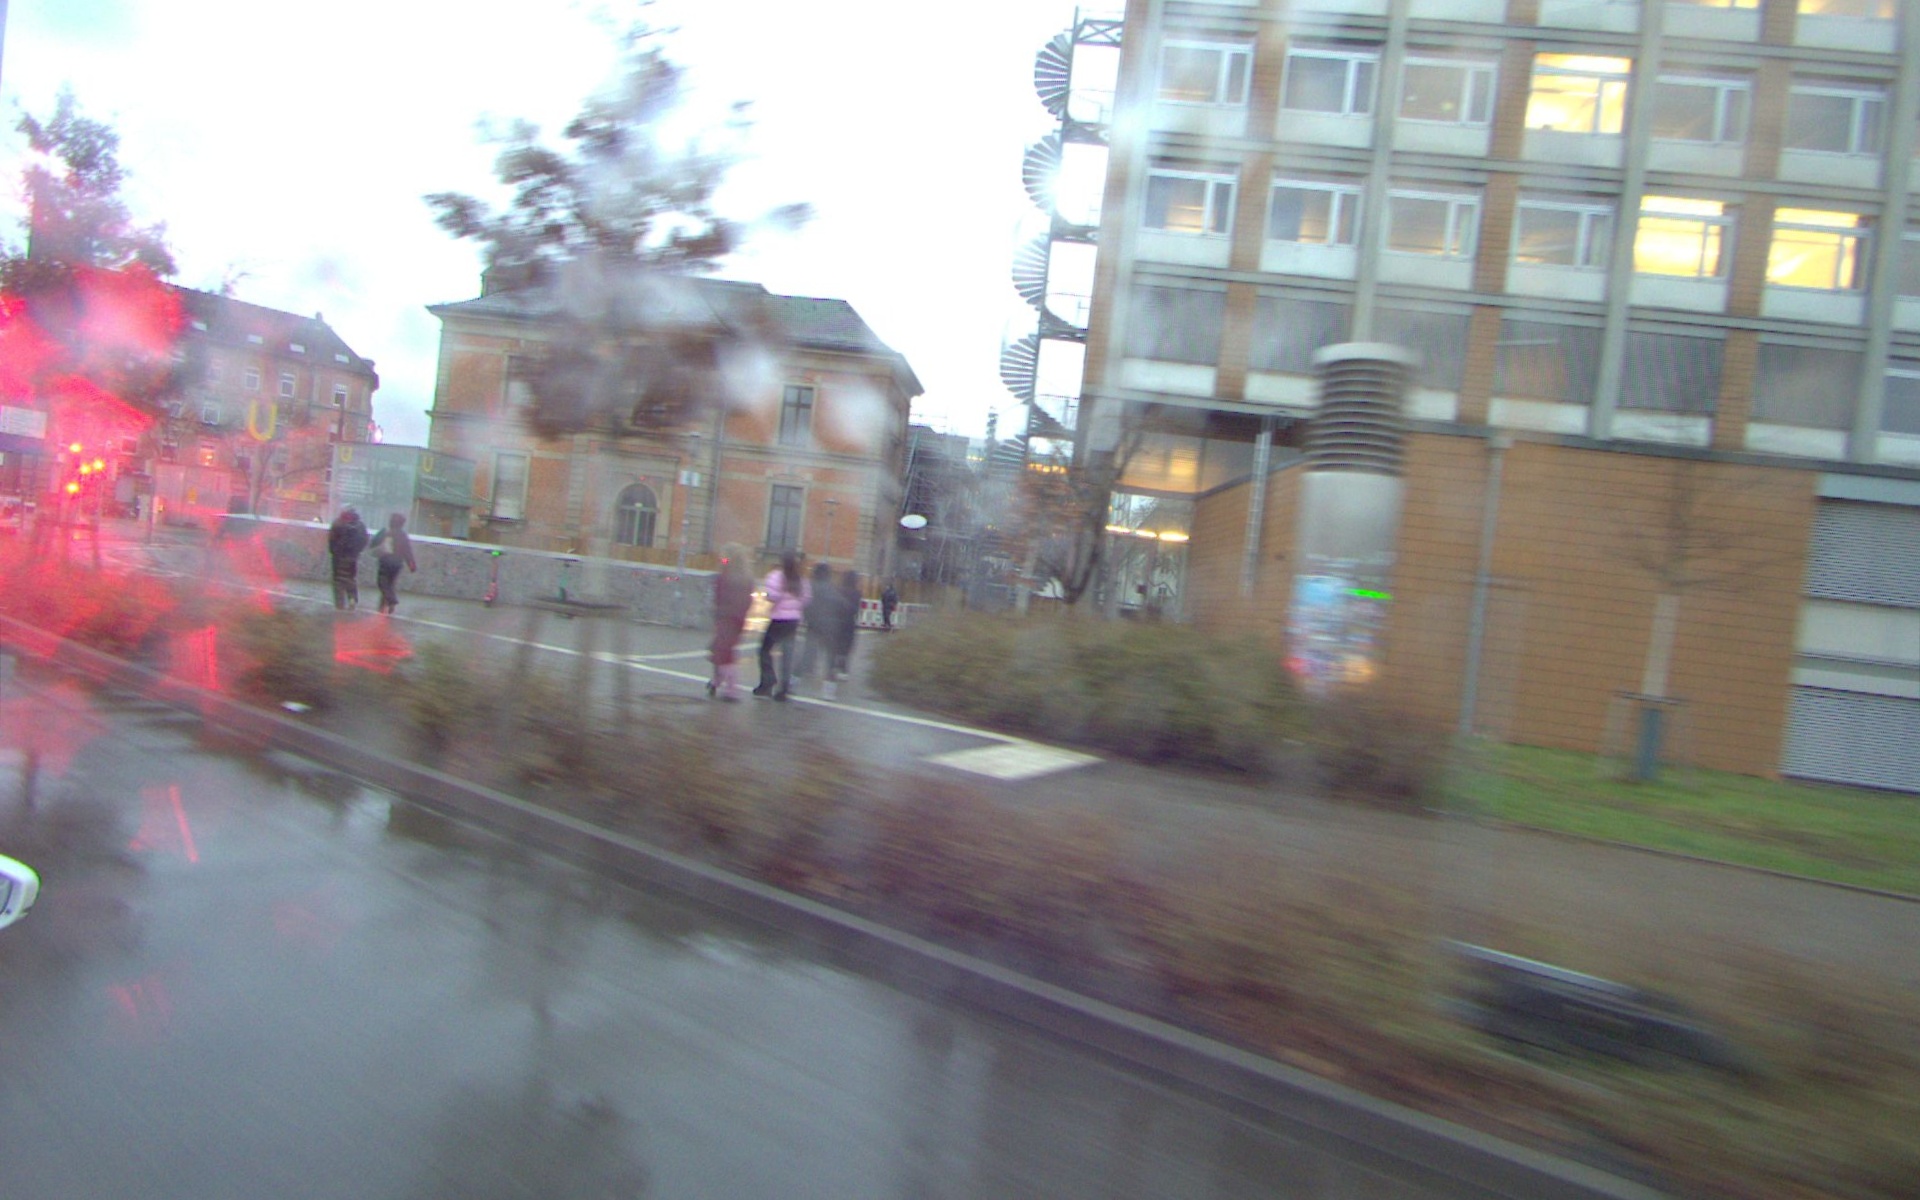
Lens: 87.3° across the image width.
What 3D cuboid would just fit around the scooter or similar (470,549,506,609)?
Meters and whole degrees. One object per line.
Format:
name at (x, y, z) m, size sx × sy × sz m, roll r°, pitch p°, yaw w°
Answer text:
scooter or similar at (-10.370, -0.478, 22.136) m, size 0.507 × 1.229 × 1.376 m, roll 6°, pitch 0°, yaw -21°

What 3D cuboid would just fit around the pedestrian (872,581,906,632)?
pedestrian at (-2.538, 0.257, 35.993) m, size 0.786 × 1.726 × 0.918 m, roll 7°, pitch 1°, yaw 15°

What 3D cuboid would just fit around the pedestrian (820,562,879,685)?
pedestrian at (-1.712, 0.367, 15.642) m, size 0.549 × 1.814 × 0.584 m, roll 6°, pitch 1°, yaw 15°

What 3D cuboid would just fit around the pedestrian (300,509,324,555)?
pedestrian at (-28.986, -3.036, 45.000) m, size 0.670 × 1.975 × 0.657 m, roll 6°, pitch 1°, yaw -27°

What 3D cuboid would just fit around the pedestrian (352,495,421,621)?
pedestrian at (-9.886, -0.728, 17.335) m, size 0.802 × 2.039 × 0.753 m, roll 8°, pitch 2°, yaw -32°

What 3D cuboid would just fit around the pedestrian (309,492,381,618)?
pedestrian at (-10.240, -0.749, 16.761) m, size 0.802 × 1.954 × 0.753 m, roll 8°, pitch 2°, yaw -32°

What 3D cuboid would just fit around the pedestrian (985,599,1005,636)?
pedestrian at (1.658, 0.829, 47.853) m, size 0.652 × 1.678 × 0.788 m, roll 6°, pitch 1°, yaw -5°

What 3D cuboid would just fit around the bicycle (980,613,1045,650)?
bicycle at (1.770, 1.039, 33.700) m, size 2.021 × 1.004 × 0.708 m, roll 6°, pitch 1°, yaw 8°

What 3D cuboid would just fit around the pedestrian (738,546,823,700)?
pedestrian at (-2.112, 0.268, 11.780) m, size 0.662 × 1.711 × 0.606 m, roll 4°, pitch 4°, yaw -32°

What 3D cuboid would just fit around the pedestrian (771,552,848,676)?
pedestrian at (-2.351, 0.221, 15.769) m, size 0.735 × 1.814 × 0.854 m, roll 6°, pitch 1°, yaw 15°

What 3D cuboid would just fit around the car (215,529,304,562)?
car at (-46.695, -3.604, 67.183) m, size 1.707 × 1.678 × 4.816 m, roll 6°, pitch 0°, yaw 14°

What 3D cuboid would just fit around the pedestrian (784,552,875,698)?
pedestrian at (-1.632, 0.298, 12.505) m, size 0.713 × 1.709 × 0.753 m, roll 5°, pitch 1°, yaw -33°

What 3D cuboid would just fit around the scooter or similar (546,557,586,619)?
scooter or similar at (-8.437, -0.267, 21.505) m, size 0.508 × 1.229 × 1.372 m, roll 6°, pitch 1°, yaw -29°

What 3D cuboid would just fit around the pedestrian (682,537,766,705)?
pedestrian at (-2.658, 0.222, 11.307) m, size 0.579 × 1.805 × 0.762 m, roll 4°, pitch 2°, yaw -32°
